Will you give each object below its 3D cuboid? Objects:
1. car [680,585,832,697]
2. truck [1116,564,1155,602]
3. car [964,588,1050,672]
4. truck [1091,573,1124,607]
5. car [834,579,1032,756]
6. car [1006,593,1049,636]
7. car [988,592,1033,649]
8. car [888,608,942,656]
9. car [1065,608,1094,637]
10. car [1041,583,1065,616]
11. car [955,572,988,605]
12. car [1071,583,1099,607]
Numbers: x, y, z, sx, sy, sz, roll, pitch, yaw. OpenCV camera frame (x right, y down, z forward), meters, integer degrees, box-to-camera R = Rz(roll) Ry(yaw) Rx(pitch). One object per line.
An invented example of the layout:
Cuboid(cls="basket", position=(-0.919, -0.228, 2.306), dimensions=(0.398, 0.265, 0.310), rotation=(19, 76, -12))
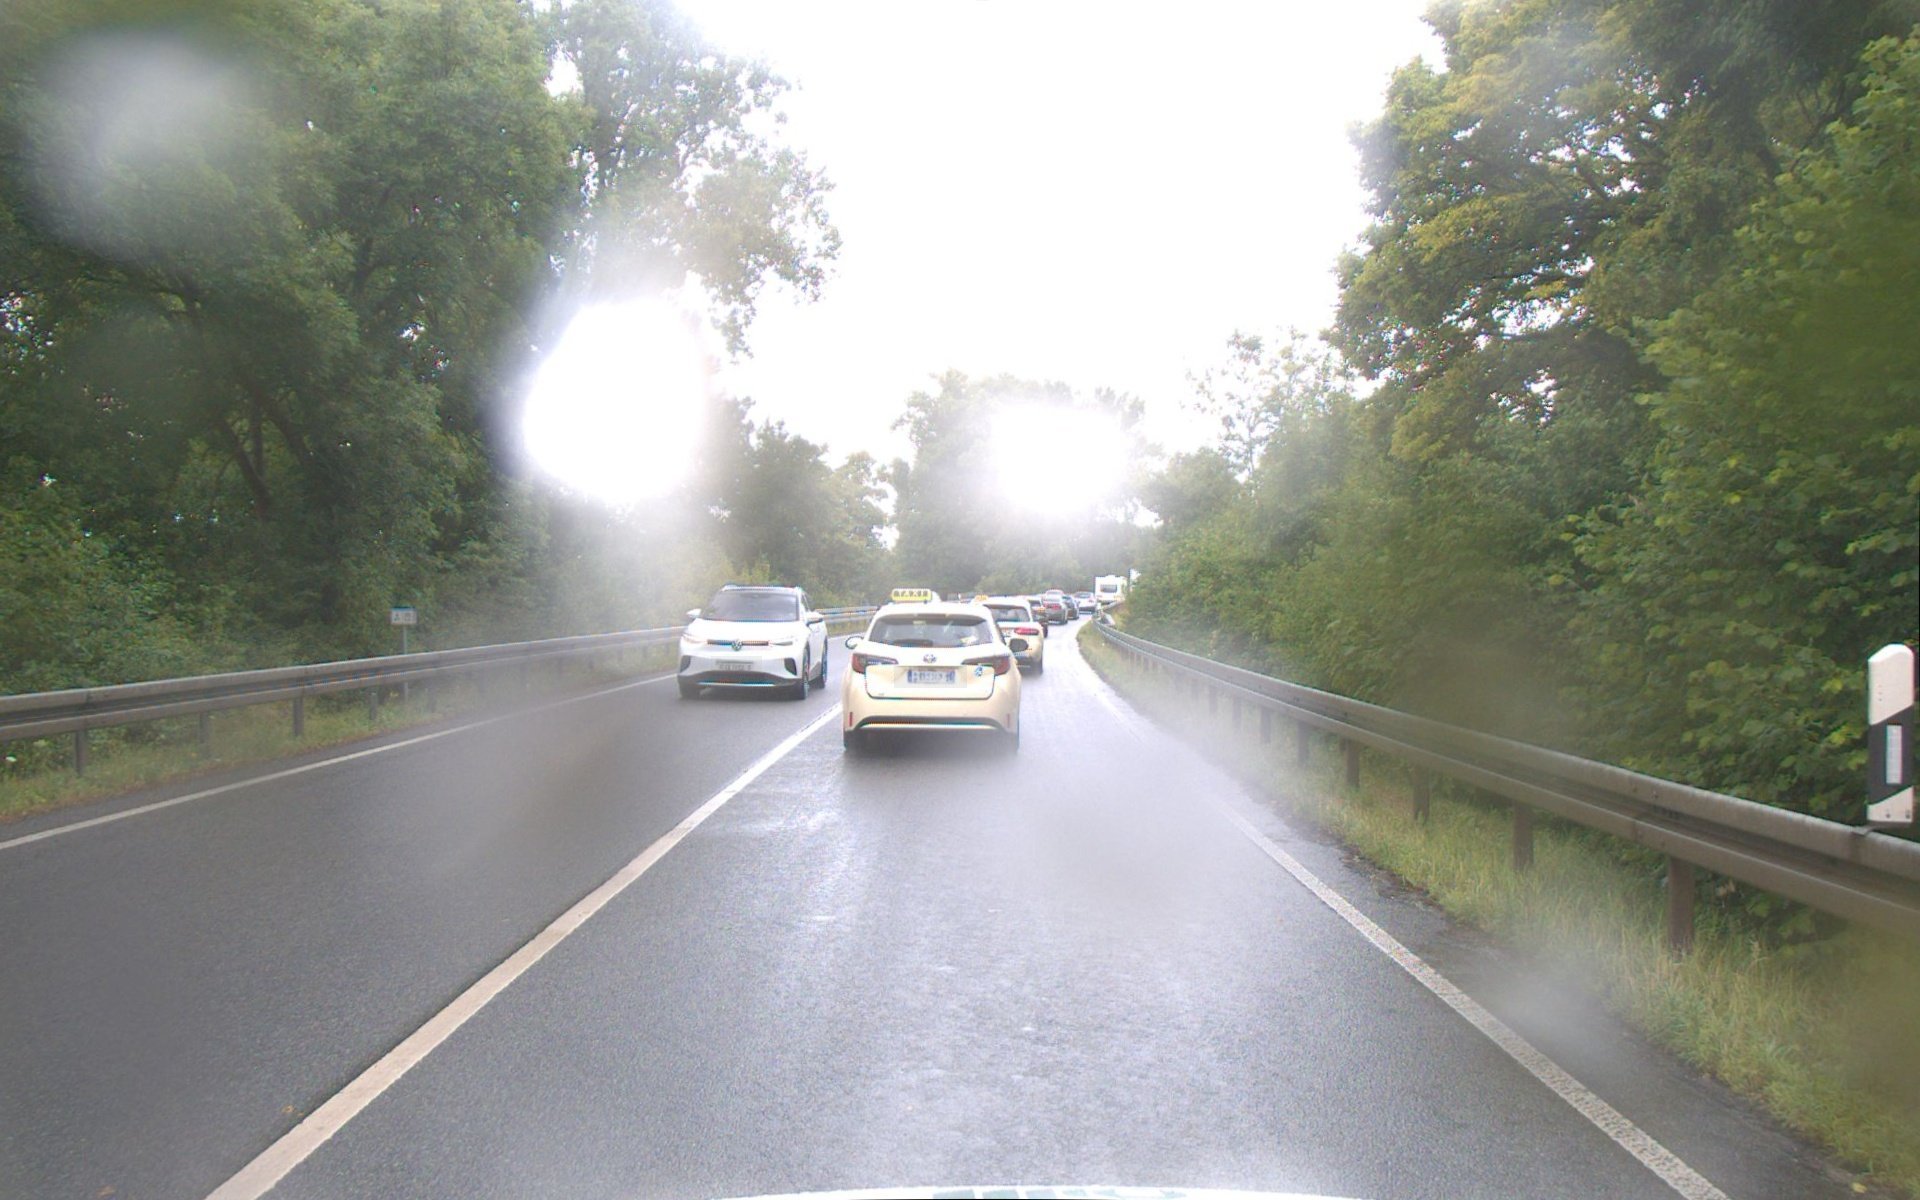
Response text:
Cuboid(cls="car", position=(-3.008, 0.571, 25.171), dimensions=(1.770, 1.559, 4.206), rotation=(0, 0, 0))
Cuboid(cls="truck", position=(18.195, -1.735, 171.317), dimensions=(3.041, 3.745, 7.005), rotation=(1, -1, 14))
Cuboid(cls="car", position=(0.990, 0.606, 33.966), dimensions=(1.633, 1.608, 3.893), rotation=(1, -1, 2))
Cuboid(cls="truck", position=(12.641, -0.850, 142.422), dimensions=(2.496, 2.760, 7.537), rotation=(1, -1, 3))
Cuboid(cls="car", position=(-0.197, 0.644, 17.312), dimensions=(1.796, 1.608, 4.157), rotation=(1, -1, 1))
Cuboid(cls="car", position=(2.580, 0.568, 62.748), dimensions=(1.577, 1.574, 3.815), rotation=(0, -2, 3))
Cuboid(cls="car", position=(1.460, 0.598, 48.480), dimensions=(1.274, 1.574, 3.260), rotation=(1, -1, 1))
Cuboid(cls="car", position=(-1.604, 1.118, 59.738), dimensions=(1.657, 1.601, 4.376), rotation=(1, 0, 2))
Cuboid(cls="car", position=(6.934, 1.323, 96.139), dimensions=(1.582, 1.641, 3.623), rotation=(1, -1, 5))
Cuboid(cls="car", position=(4.649, -0.022, 82.432), dimensions=(1.142, 1.574, 2.605), rotation=(1, -1, 4))
Cuboid(cls="car", position=(0.754, -0.729, 105.929), dimensions=(1.952, 2.049, 4.001), rotation=(1, -1, 2))
Cuboid(cls="car", position=(8.736, -0.327, 115.456), dimensions=(1.732, 1.574, 3.817), rotation=(1, -1, 8))
